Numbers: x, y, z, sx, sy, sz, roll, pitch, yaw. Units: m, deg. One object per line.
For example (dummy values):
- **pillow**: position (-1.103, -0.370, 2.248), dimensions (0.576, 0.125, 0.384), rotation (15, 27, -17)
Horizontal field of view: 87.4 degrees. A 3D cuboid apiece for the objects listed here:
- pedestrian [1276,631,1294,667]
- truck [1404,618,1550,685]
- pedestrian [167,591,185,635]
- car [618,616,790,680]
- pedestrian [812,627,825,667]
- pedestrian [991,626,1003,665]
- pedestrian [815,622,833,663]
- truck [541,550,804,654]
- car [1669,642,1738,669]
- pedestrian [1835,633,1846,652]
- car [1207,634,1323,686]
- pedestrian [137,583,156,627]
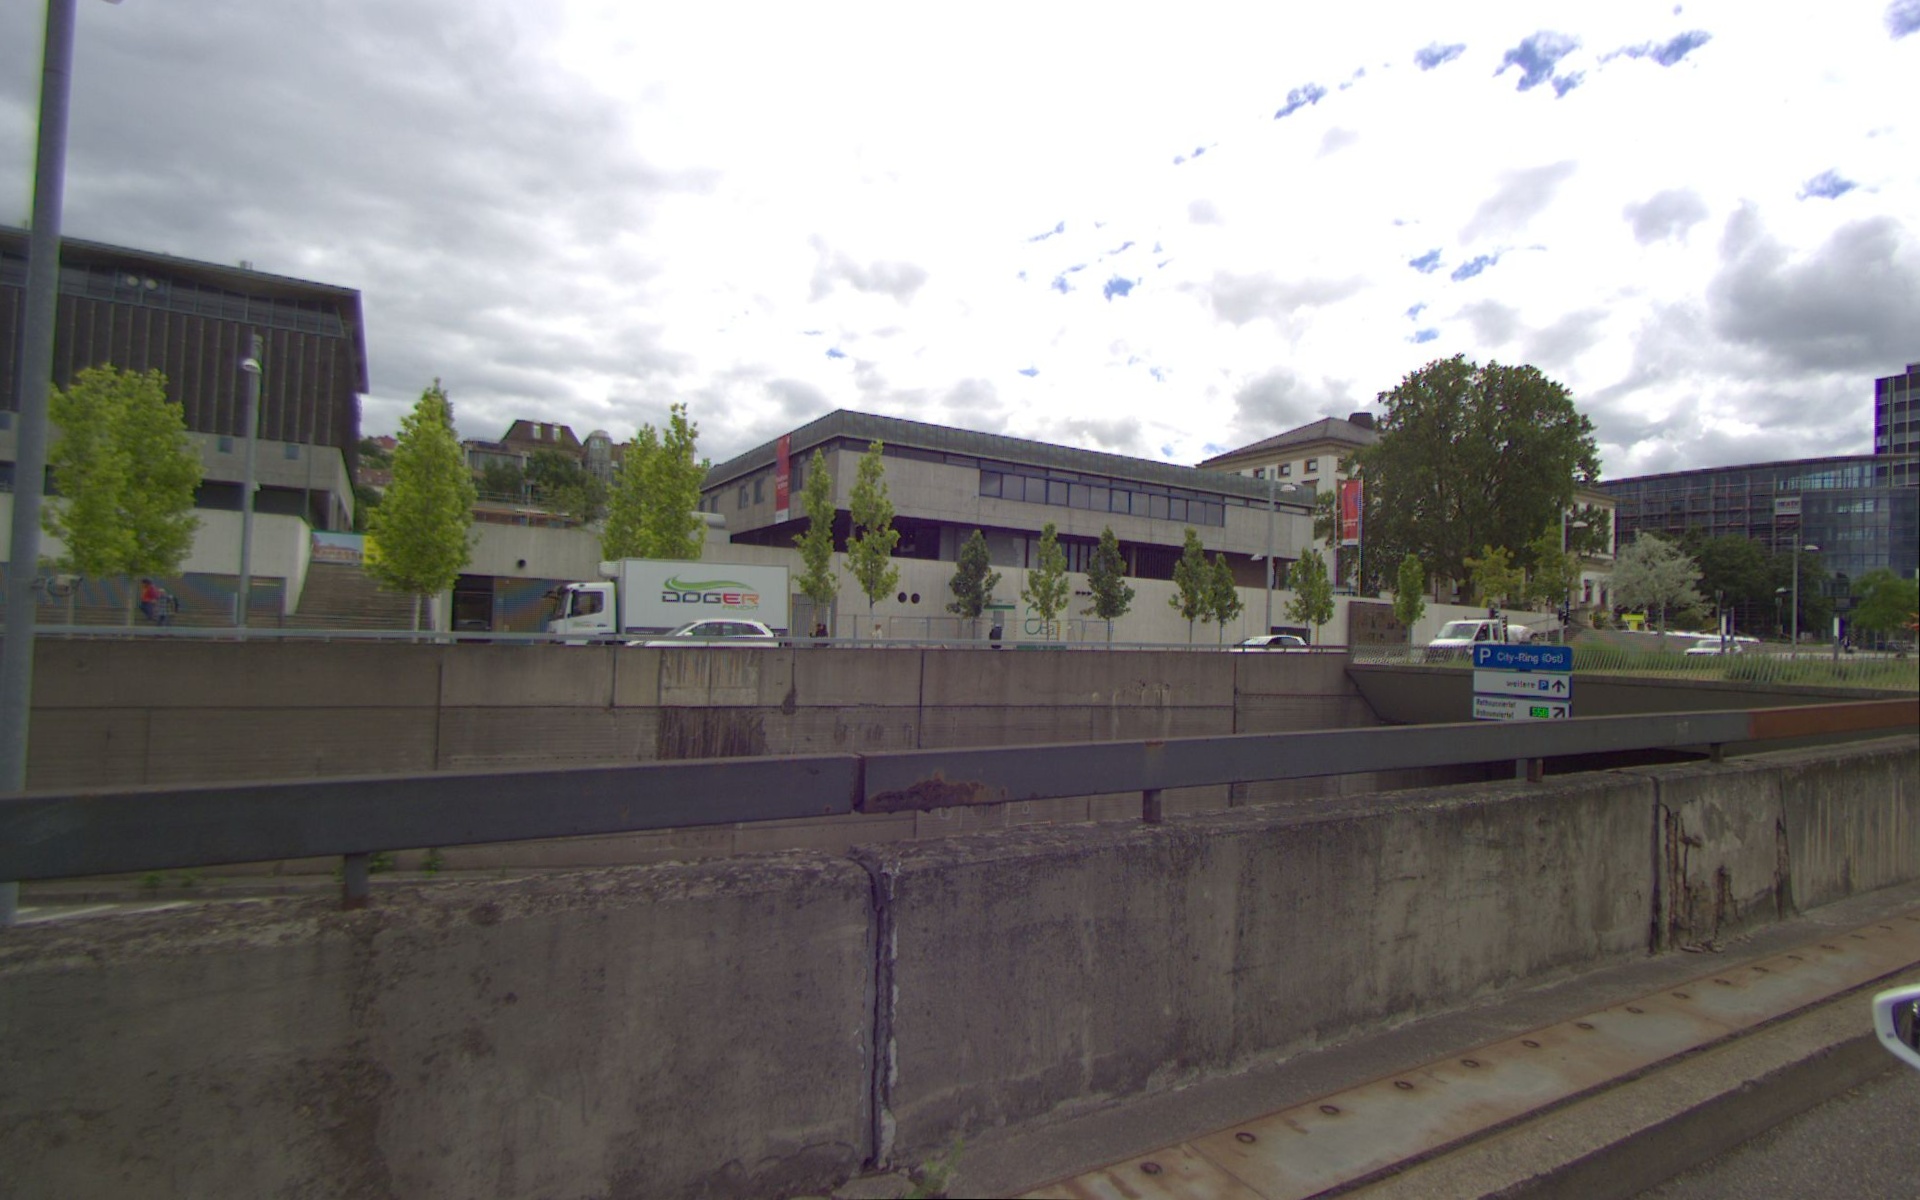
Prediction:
- **pedestrian**: position (16.213, 2.419, 50.067), dimensions (0.655, 1.757, 0.537), rotation (1, 0, -30)
- **truck**: position (23.514, 2.273, 45.599), dimensions (6.991, 2.854, 2.453), rotation (1, -1, -29)
- **pedestrian**: position (-27.805, 0.460, 35.627), dimensions (0.457, 1.542, 0.377), rotation (2, 0, -36)
- **car**: position (-6.909, 1.258, 27.160), dimensions (4.218, 1.595, 1.711), rotation (1, -1, -29)
- **pedestrian**: position (-5.482, 1.827, 38.909), dimensions (0.314, 1.542, 0.410), rotation (2, 0, -36)
- **pedestrian**: position (1.483, 1.821, 40.419), dimensions (0.314, 1.542, 0.315), rotation (2, 0, -36)
- **pedestrian**: position (-5.197, 1.624, 38.426), dimensions (0.457, 1.542, 0.458), rotation (2, 0, -36)
- **truck**: position (-8.751, 0.124, 30.748), dimensions (7.169, 2.825, 3.215), rotation (1, -1, -31)
- **car**: position (46.345, 3.447, 62.578), dimensions (4.556, 1.595, 1.711), rotation (1, -1, -29)
- **pedestrian**: position (77.695, 3.721, 88.665), dimensions (0.643, 1.671, 0.521), rotation (2, 0, -31)
- **car**: position (11.794, 2.268, 38.787), dimensions (4.207, 1.840, 1.984), rotation (1, -1, -30)
- **pedestrian**: position (-29.256, 0.175, 36.127), dimensions (0.457, 1.542, 0.377), rotation (2, 0, -36)
